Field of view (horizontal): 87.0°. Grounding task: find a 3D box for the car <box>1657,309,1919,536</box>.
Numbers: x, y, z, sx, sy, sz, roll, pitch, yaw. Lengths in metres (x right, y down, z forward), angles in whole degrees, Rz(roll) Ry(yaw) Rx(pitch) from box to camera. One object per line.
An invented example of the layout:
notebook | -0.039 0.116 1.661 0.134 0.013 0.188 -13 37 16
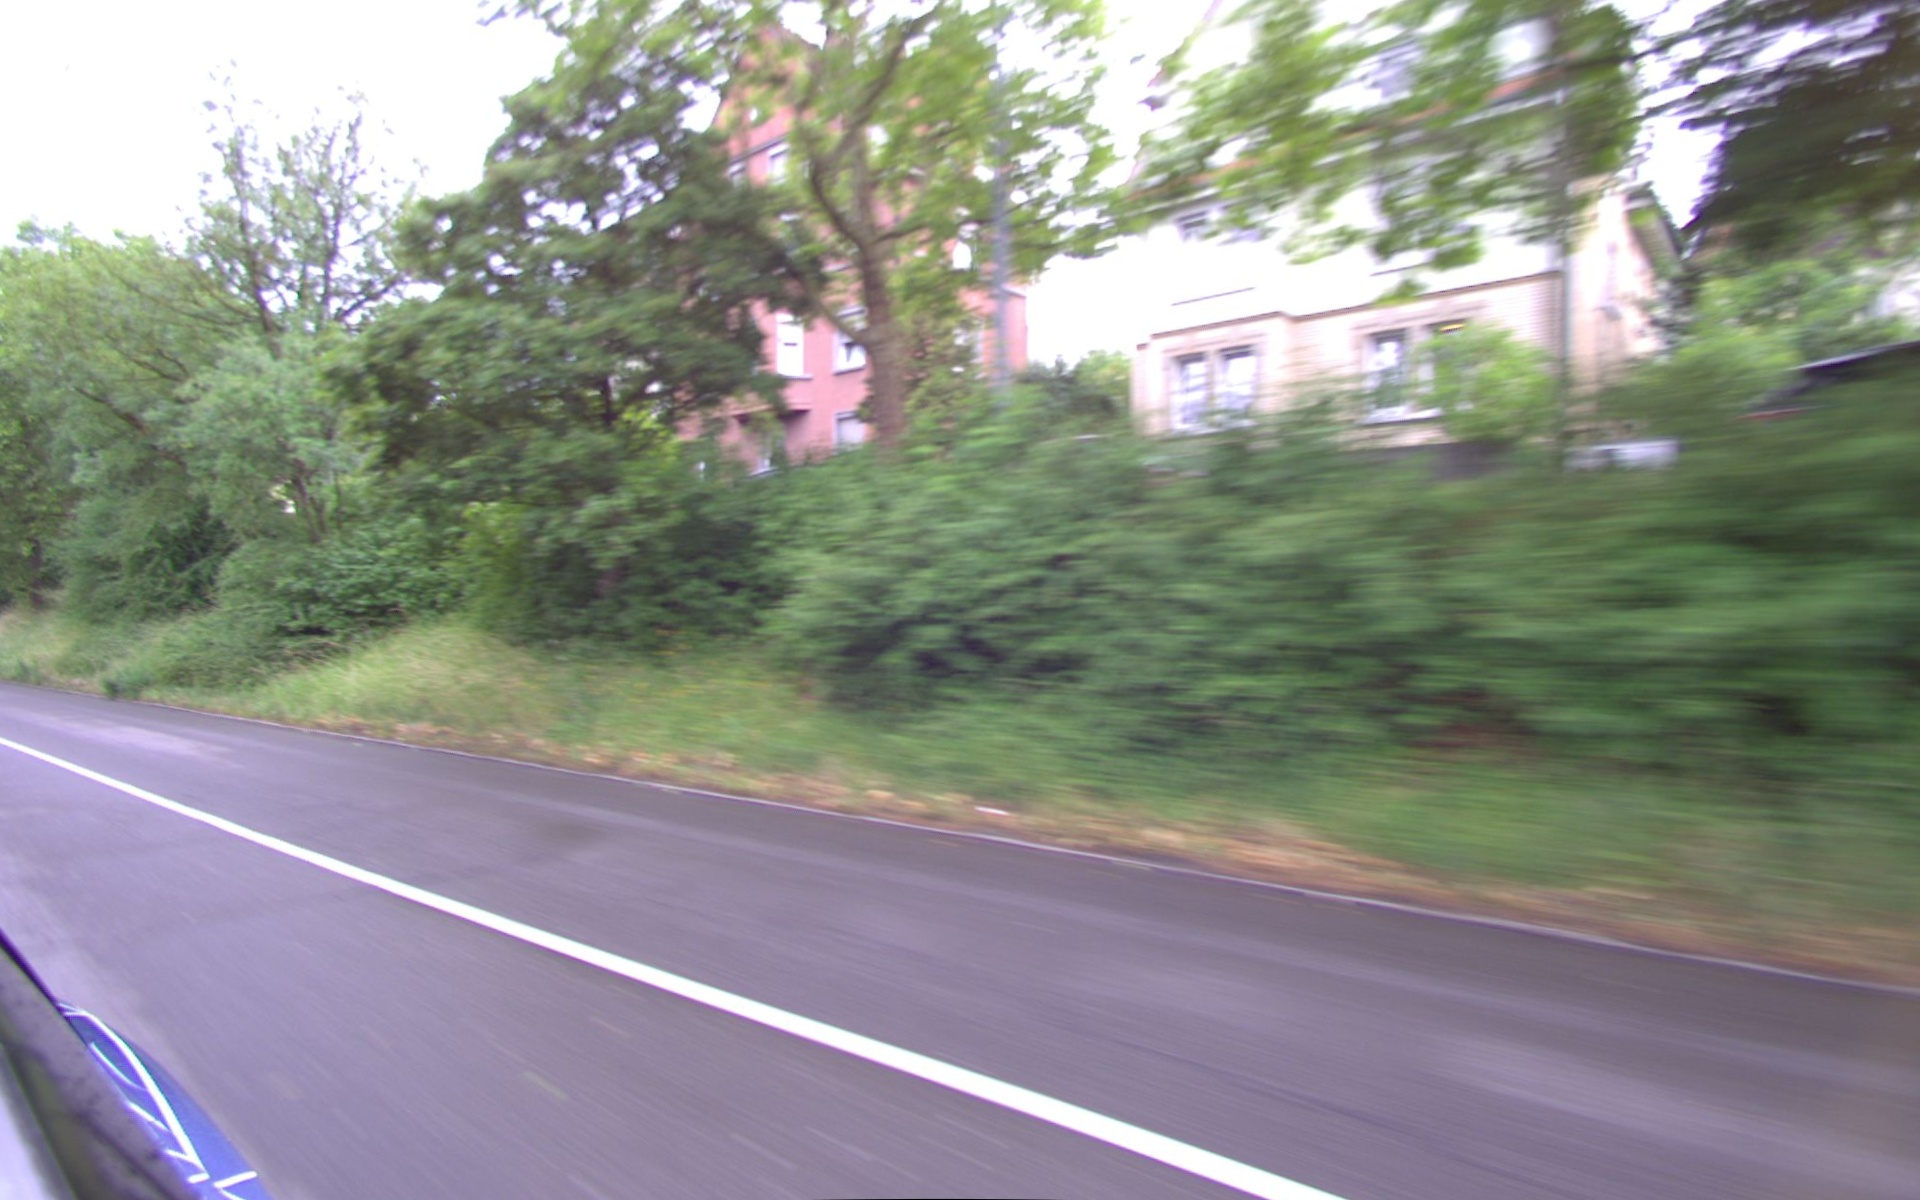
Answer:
car | 8.237 -1.446 8.000 4.284 1.569 1.811 -2 0 42
